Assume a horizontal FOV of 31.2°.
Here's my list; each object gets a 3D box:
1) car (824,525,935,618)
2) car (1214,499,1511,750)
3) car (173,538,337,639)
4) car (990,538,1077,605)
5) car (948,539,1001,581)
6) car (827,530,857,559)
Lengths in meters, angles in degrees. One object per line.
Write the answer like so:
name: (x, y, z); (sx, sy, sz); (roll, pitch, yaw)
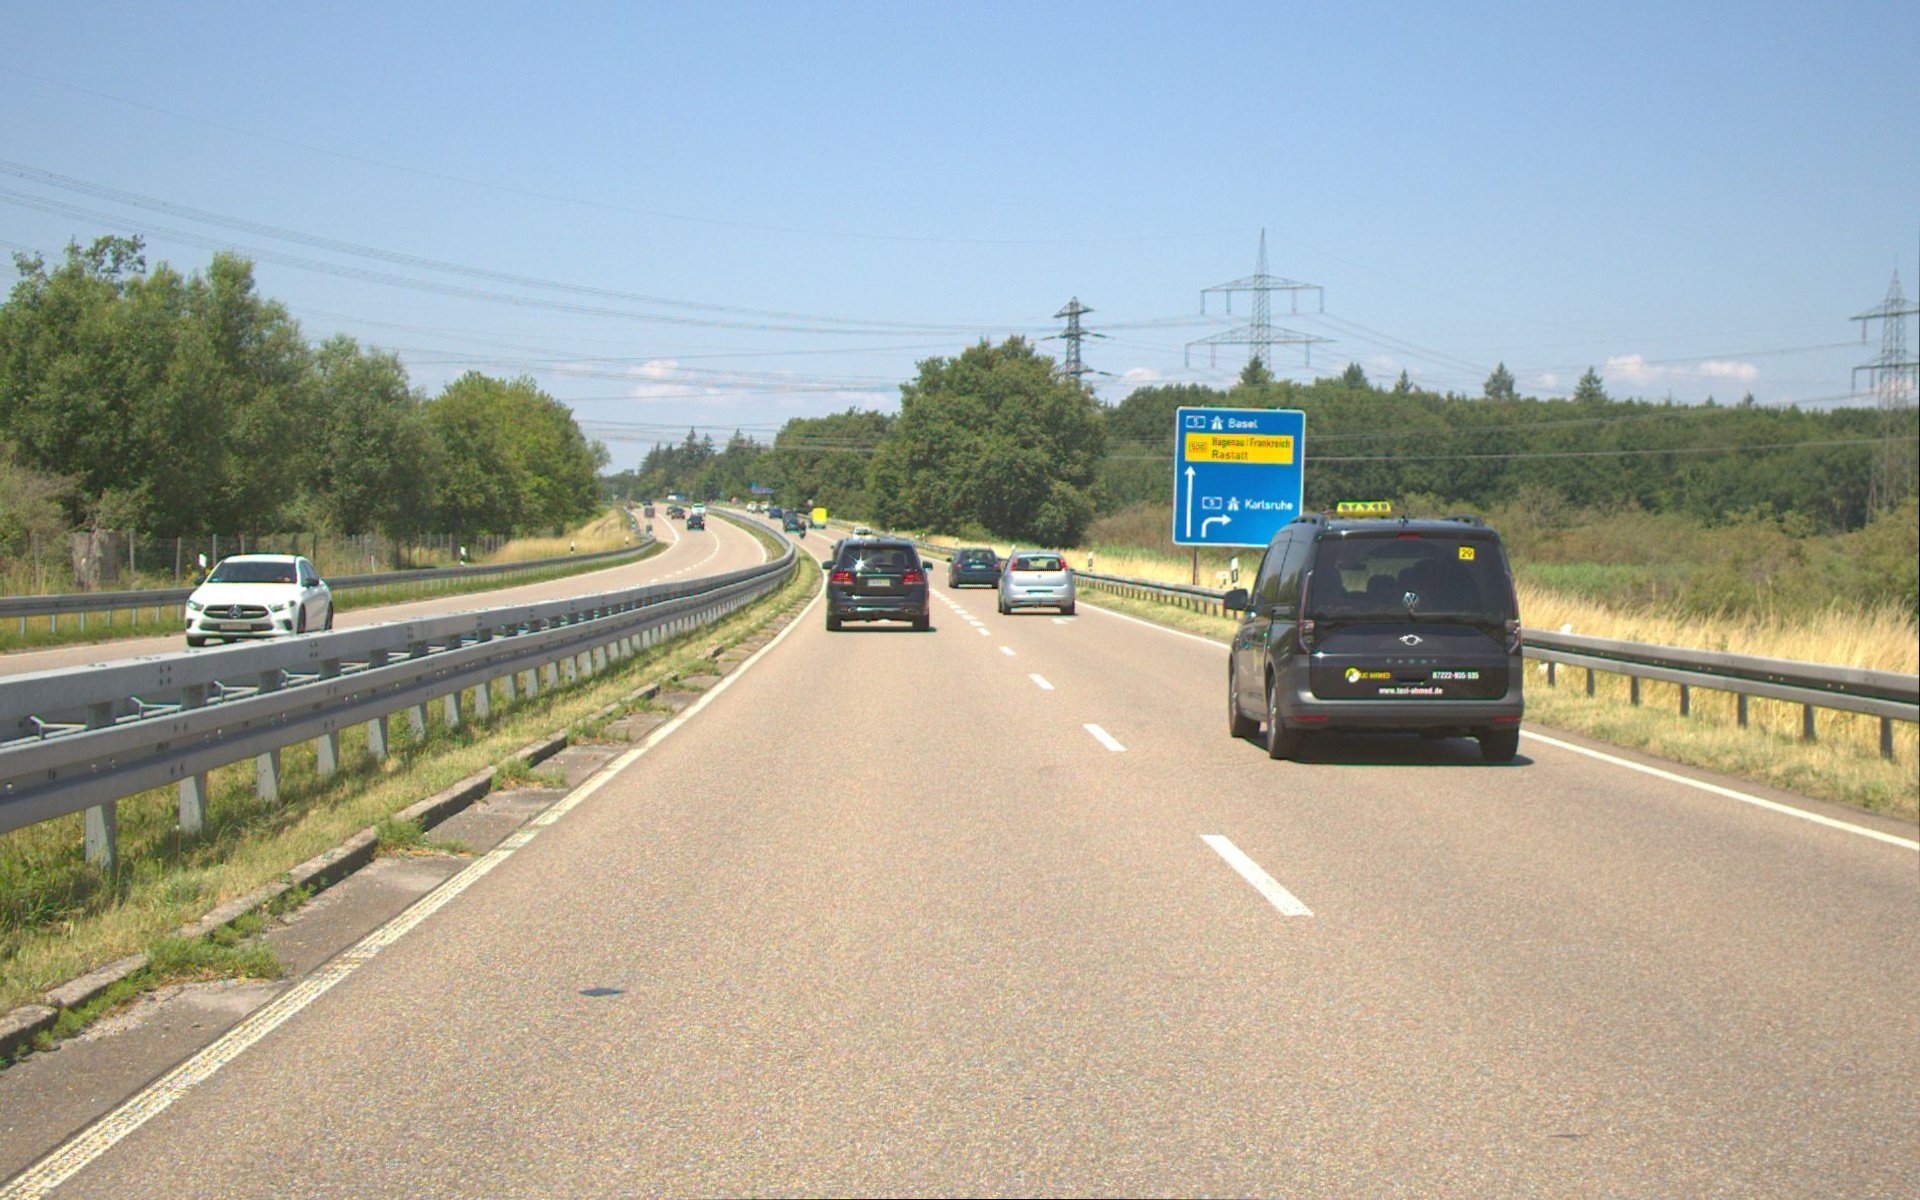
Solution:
car: (-1.534, -0.559, 65.060); (1.993, 1.649, 4.000); (2, 1, -2)
car: (3.089, 0.130, 27.153); (1.780, 1.810, 4.213); (1, 1, -1)
car: (-11.209, -0.212, 54.894); (1.827, 1.492, 4.103); (2, 1, -1)
car: (1.696, -0.695, 80.586); (1.779, 1.474, 4.316); (2, 1, -2)
car: (0.514, -1.434, 121.807); (1.819, 1.409, 4.000); (0, 1, 0)
car: (-6.306, -2.965, 183.705); (1.514, 1.470, 3.066); (3, 1, -2)
